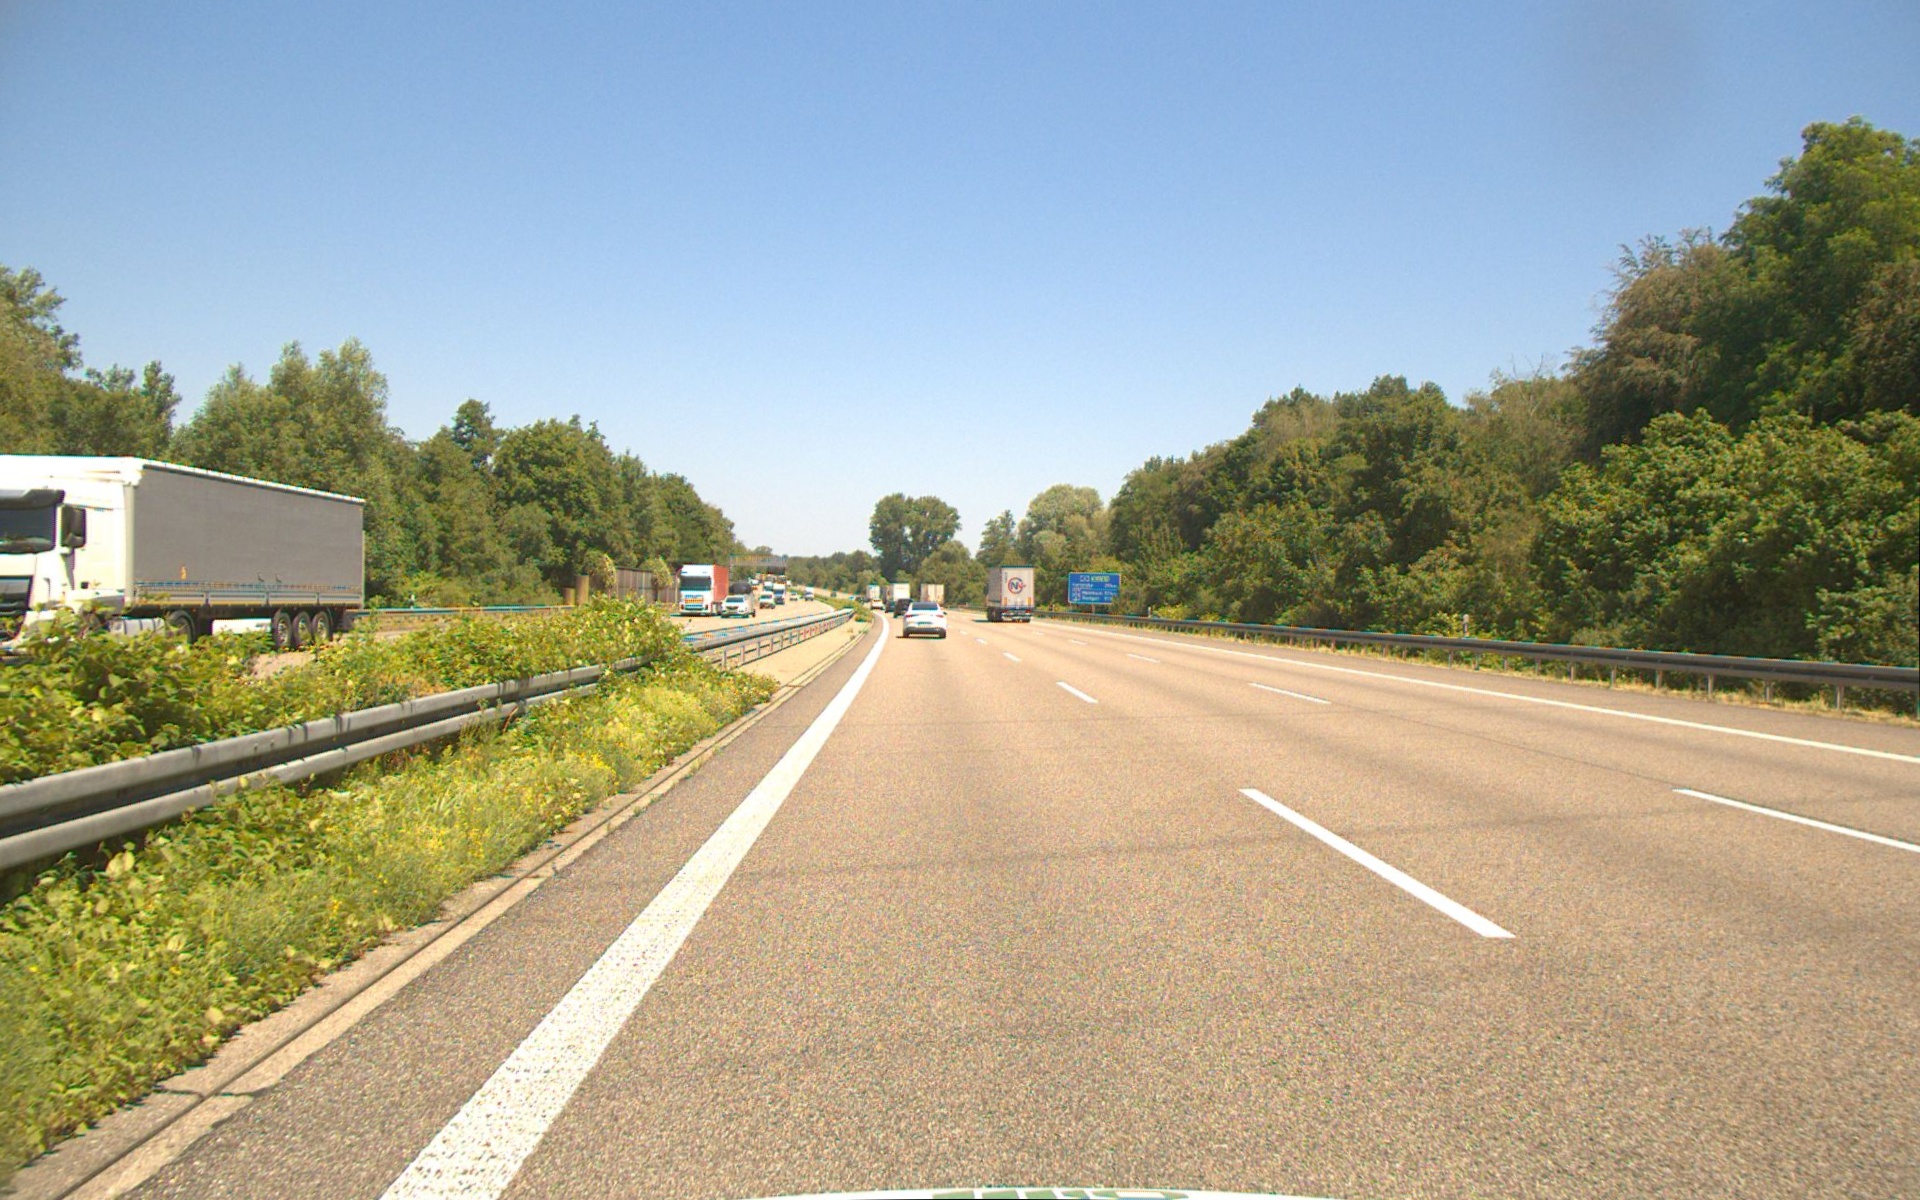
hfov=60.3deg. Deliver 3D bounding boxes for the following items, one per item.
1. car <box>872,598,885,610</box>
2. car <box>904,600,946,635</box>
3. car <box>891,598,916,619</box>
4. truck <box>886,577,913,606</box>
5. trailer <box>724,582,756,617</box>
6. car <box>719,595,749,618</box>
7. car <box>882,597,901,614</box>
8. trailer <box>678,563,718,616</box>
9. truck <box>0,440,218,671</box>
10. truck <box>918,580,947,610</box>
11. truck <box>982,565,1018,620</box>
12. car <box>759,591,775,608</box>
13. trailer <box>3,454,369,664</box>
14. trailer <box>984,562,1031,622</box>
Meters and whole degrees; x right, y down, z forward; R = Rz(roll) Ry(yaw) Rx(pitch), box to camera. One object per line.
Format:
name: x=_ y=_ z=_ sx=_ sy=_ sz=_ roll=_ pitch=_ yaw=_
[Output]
car: x=-12.509 y=0.596 z=253.376 sx=1.691 sy=1.814 sz=3.994 roll=1 pitch=0 yaw=-7
car: x=-1.430 y=0.720 z=68.877 sx=1.680 sy=1.393 sz=3.375 roll=1 pitch=0 yaw=0
car: x=-5.022 y=0.771 z=146.753 sx=1.955 sy=1.803 sz=3.995 roll=1 pitch=0 yaw=-6
truck: x=-9.555 y=-1.282 z=260.316 sx=3.296 sy=4.386 sz=10.812 roll=1 pitch=0 yaw=-7
trailer: x=-16.744 y=-0.039 z=126.078 sx=2.044 sy=2.659 sz=4.952 roll=1 pitch=0 yaw=-3
car: x=-16.600 y=0.448 z=121.548 sx=1.799 sy=1.660 sz=4.017 roll=1 pitch=0 yaw=-3
car: x=-8.508 y=0.629 z=204.283 sx=1.956 sy=2.049 sz=3.993 roll=1 pitch=0 yaw=-8
trailer: x=-20.994 y=-0.846 z=132.776 sx=2.635 sy=4.113 sz=6.032 roll=1 pitch=0 yaw=-4
truck: x=-17.241 y=-0.794 z=32.445 sx=2.607 sy=4.055 sz=6.550 roll=1 pitch=0 yaw=-3
truck: x=-4.164 y=-0.814 z=249.681 sx=3.425 sy=4.386 sz=10.973 roll=1 pitch=0 yaw=-6
truck: x=3.247 y=-0.613 z=135.380 sx=2.554 sy=4.362 sz=5.433 roll=1 pitch=0 yaw=-3
car: x=-28.223 y=-0.027 z=242.016 sx=1.987 sy=2.473 sz=5.400 roll=1 pitch=0 yaw=-10
trailer: x=-17.470 y=-0.802 z=38.967 sx=2.617 sy=4.035 sz=13.657 roll=1 pitch=0 yaw=-2
trailer: x=3.563 y=-0.609 z=128.259 sx=2.571 sy=4.335 sz=14.053 roll=1 pitch=0 yaw=-2
